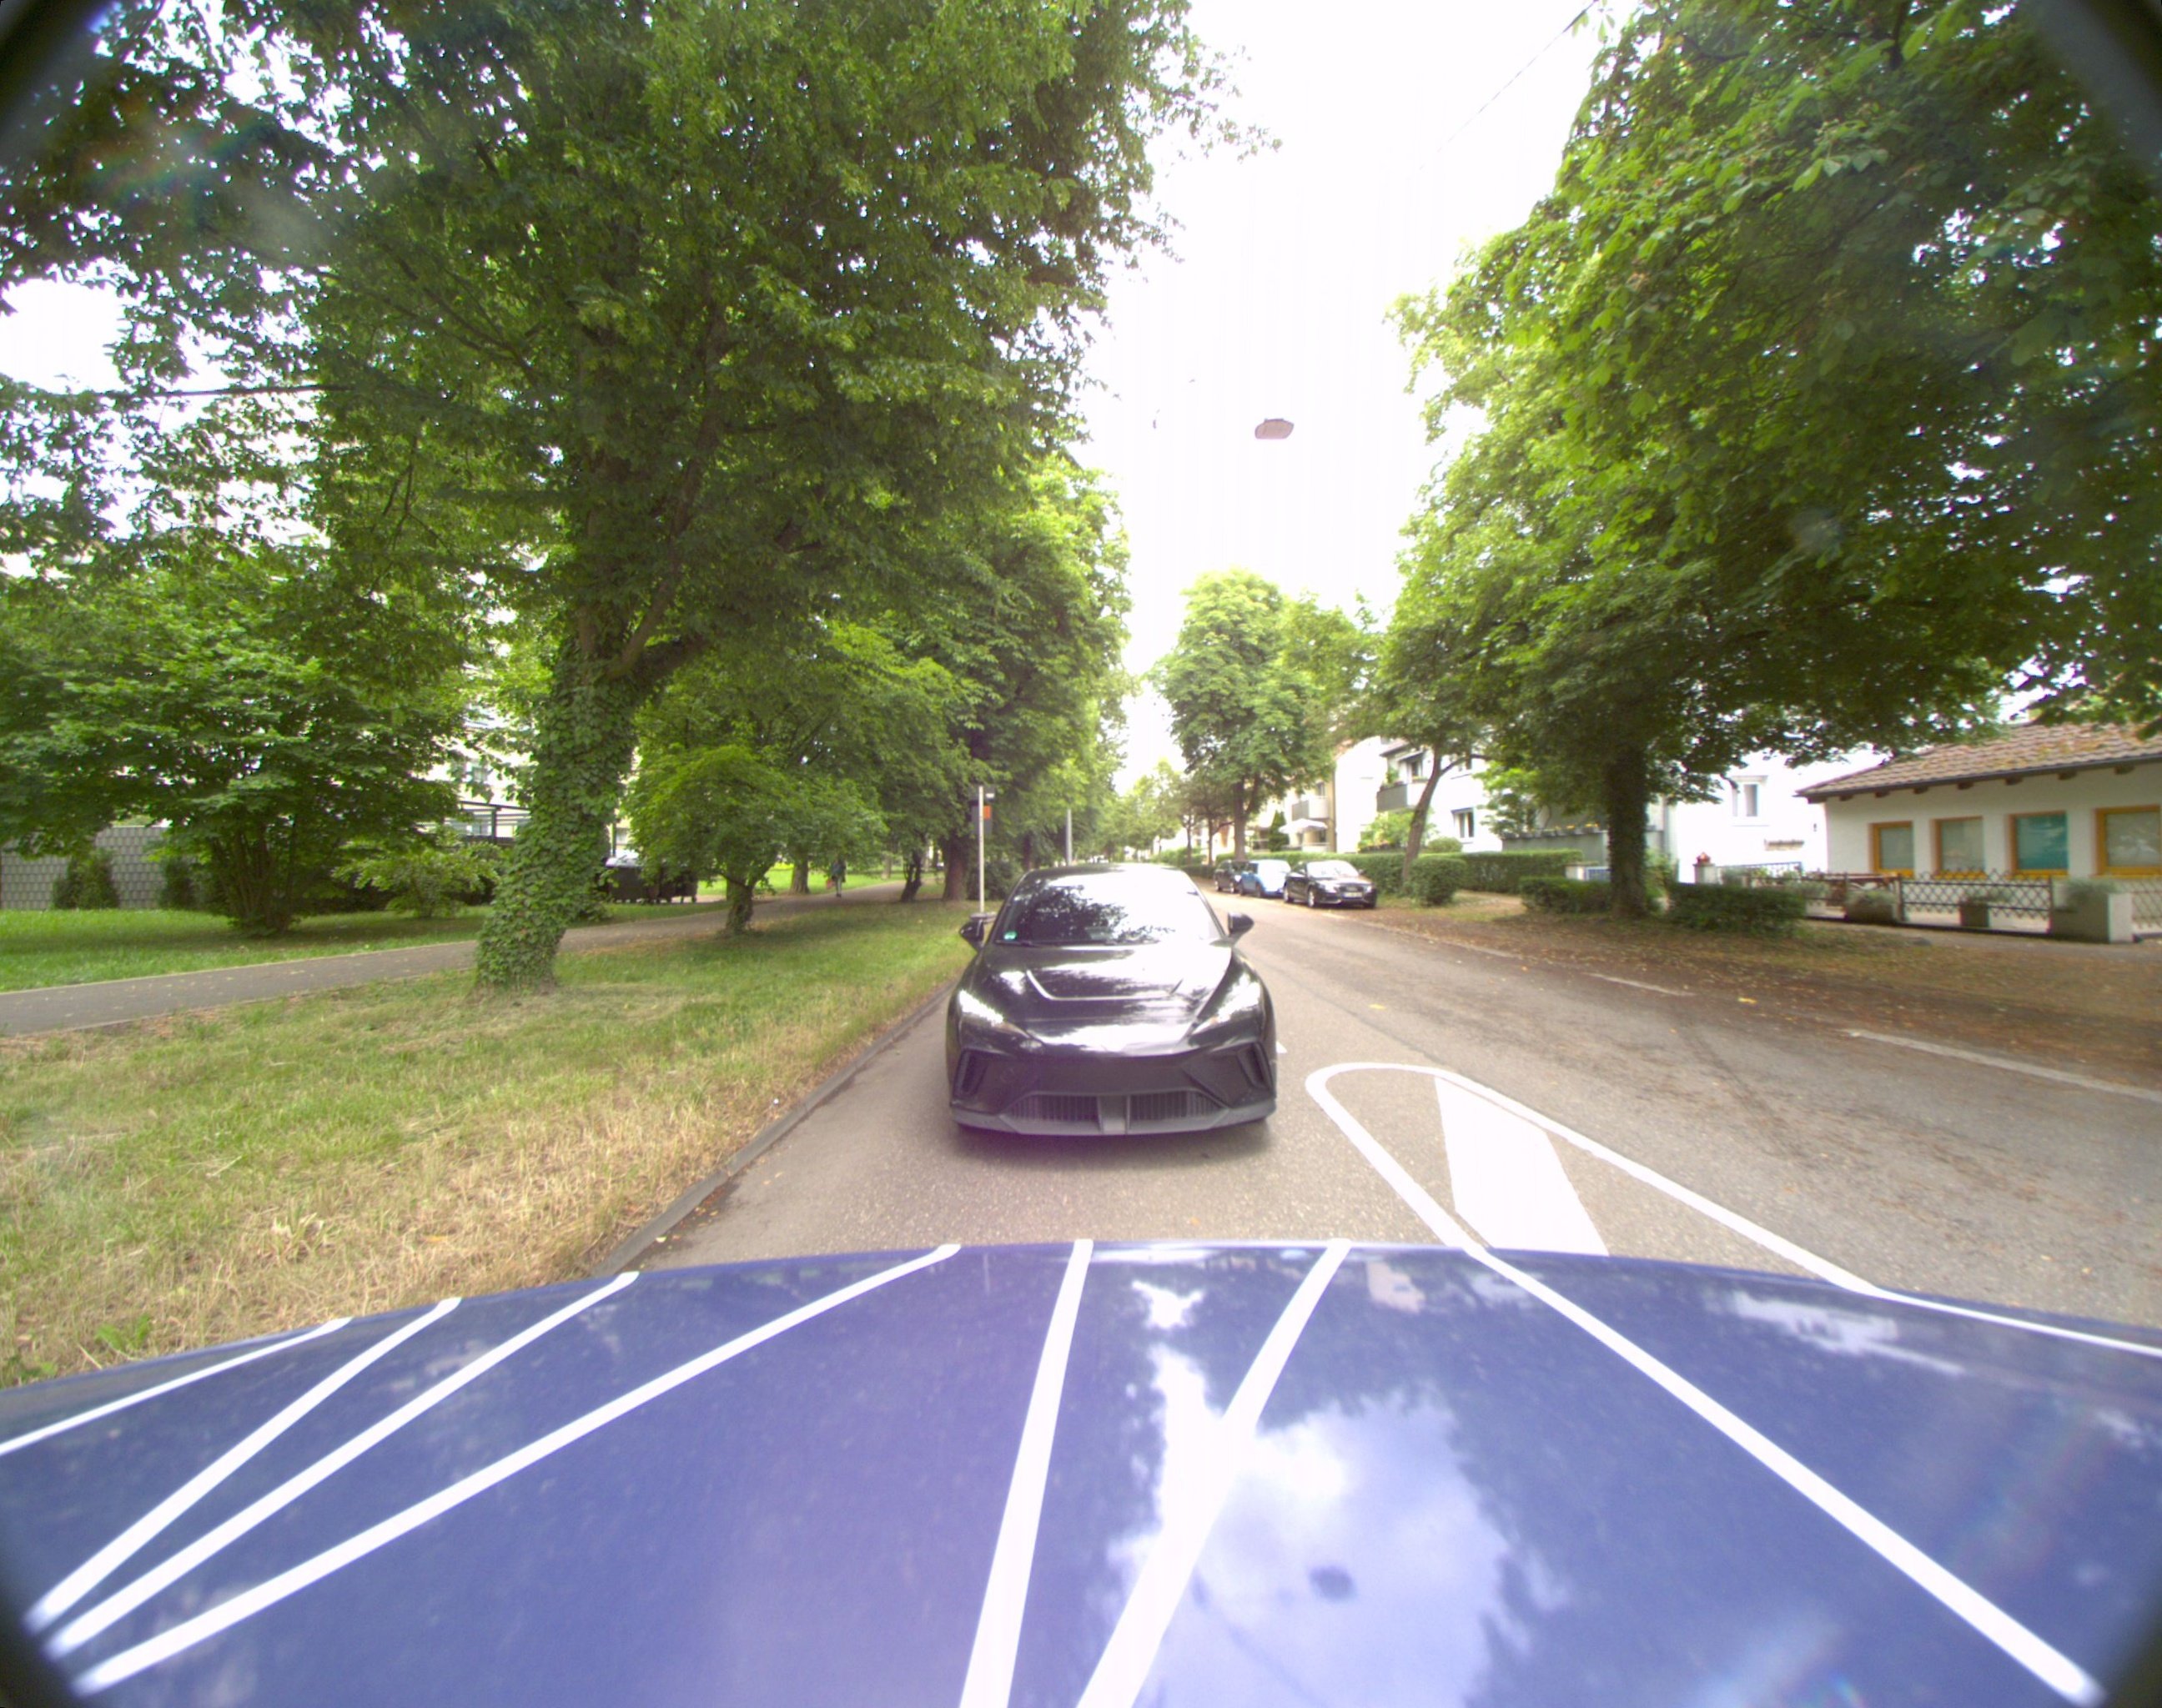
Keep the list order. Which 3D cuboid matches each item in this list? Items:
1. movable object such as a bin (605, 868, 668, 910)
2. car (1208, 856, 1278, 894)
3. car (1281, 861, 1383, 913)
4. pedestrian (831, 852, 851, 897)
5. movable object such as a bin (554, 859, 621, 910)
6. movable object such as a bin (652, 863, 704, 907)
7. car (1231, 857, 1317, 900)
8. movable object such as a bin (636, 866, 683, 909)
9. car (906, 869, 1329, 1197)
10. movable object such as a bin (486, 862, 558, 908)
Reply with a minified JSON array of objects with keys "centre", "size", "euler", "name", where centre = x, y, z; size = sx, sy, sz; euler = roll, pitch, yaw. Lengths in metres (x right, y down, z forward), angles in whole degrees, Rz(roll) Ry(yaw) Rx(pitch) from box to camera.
[{"centre":[-13.247,1.027,22.682],"size":[1.194,1.213,1.348],"euler":[0,0,-8],"name":"movable object such as a bin"},{"centre":[7.084,0.881,33.656],"size":[1.889,1.524,4.565],"euler":[0,0,-3],"name":"car"},{"centre":[7.414,0.914,22.881],"size":[1.735,1.394,4.172],"euler":[0,0,1],"name":"car"},{"centre":[-9.253,0.796,29.347],"size":[0.565,1.730,0.570],"euler":[1,0,0],"name":"pedestrian"},{"centre":[-14.564,0.871,22.490],"size":[1.194,1.448,1.348],"euler":[0,0,-8],"name":"movable object such as a bin"},{"centre":[-13.235,0.986,24.975],"size":[1.194,1.405,1.110],"euler":[0,0,-8],"name":"movable object such as a bin"},{"centre":[7.215,0.879,28.902],"size":[1.889,1.492,4.565],"euler":[0,0,-3],"name":"car"},{"centre":[-13.232,1.046,23.881],"size":[1.026,1.296,0.960],"euler":[0,0,-8],"name":"movable object such as a bin"},{"centre":[0.195,0.892,5.902],"size":[1.998,1.491,4.615],"euler":[0,0,1],"name":"car"},{"centre":[-16.505,0.895,22.487],"size":[1.194,1.334,1.348],"euler":[0,0,-8],"name":"movable object such as a bin"}]
